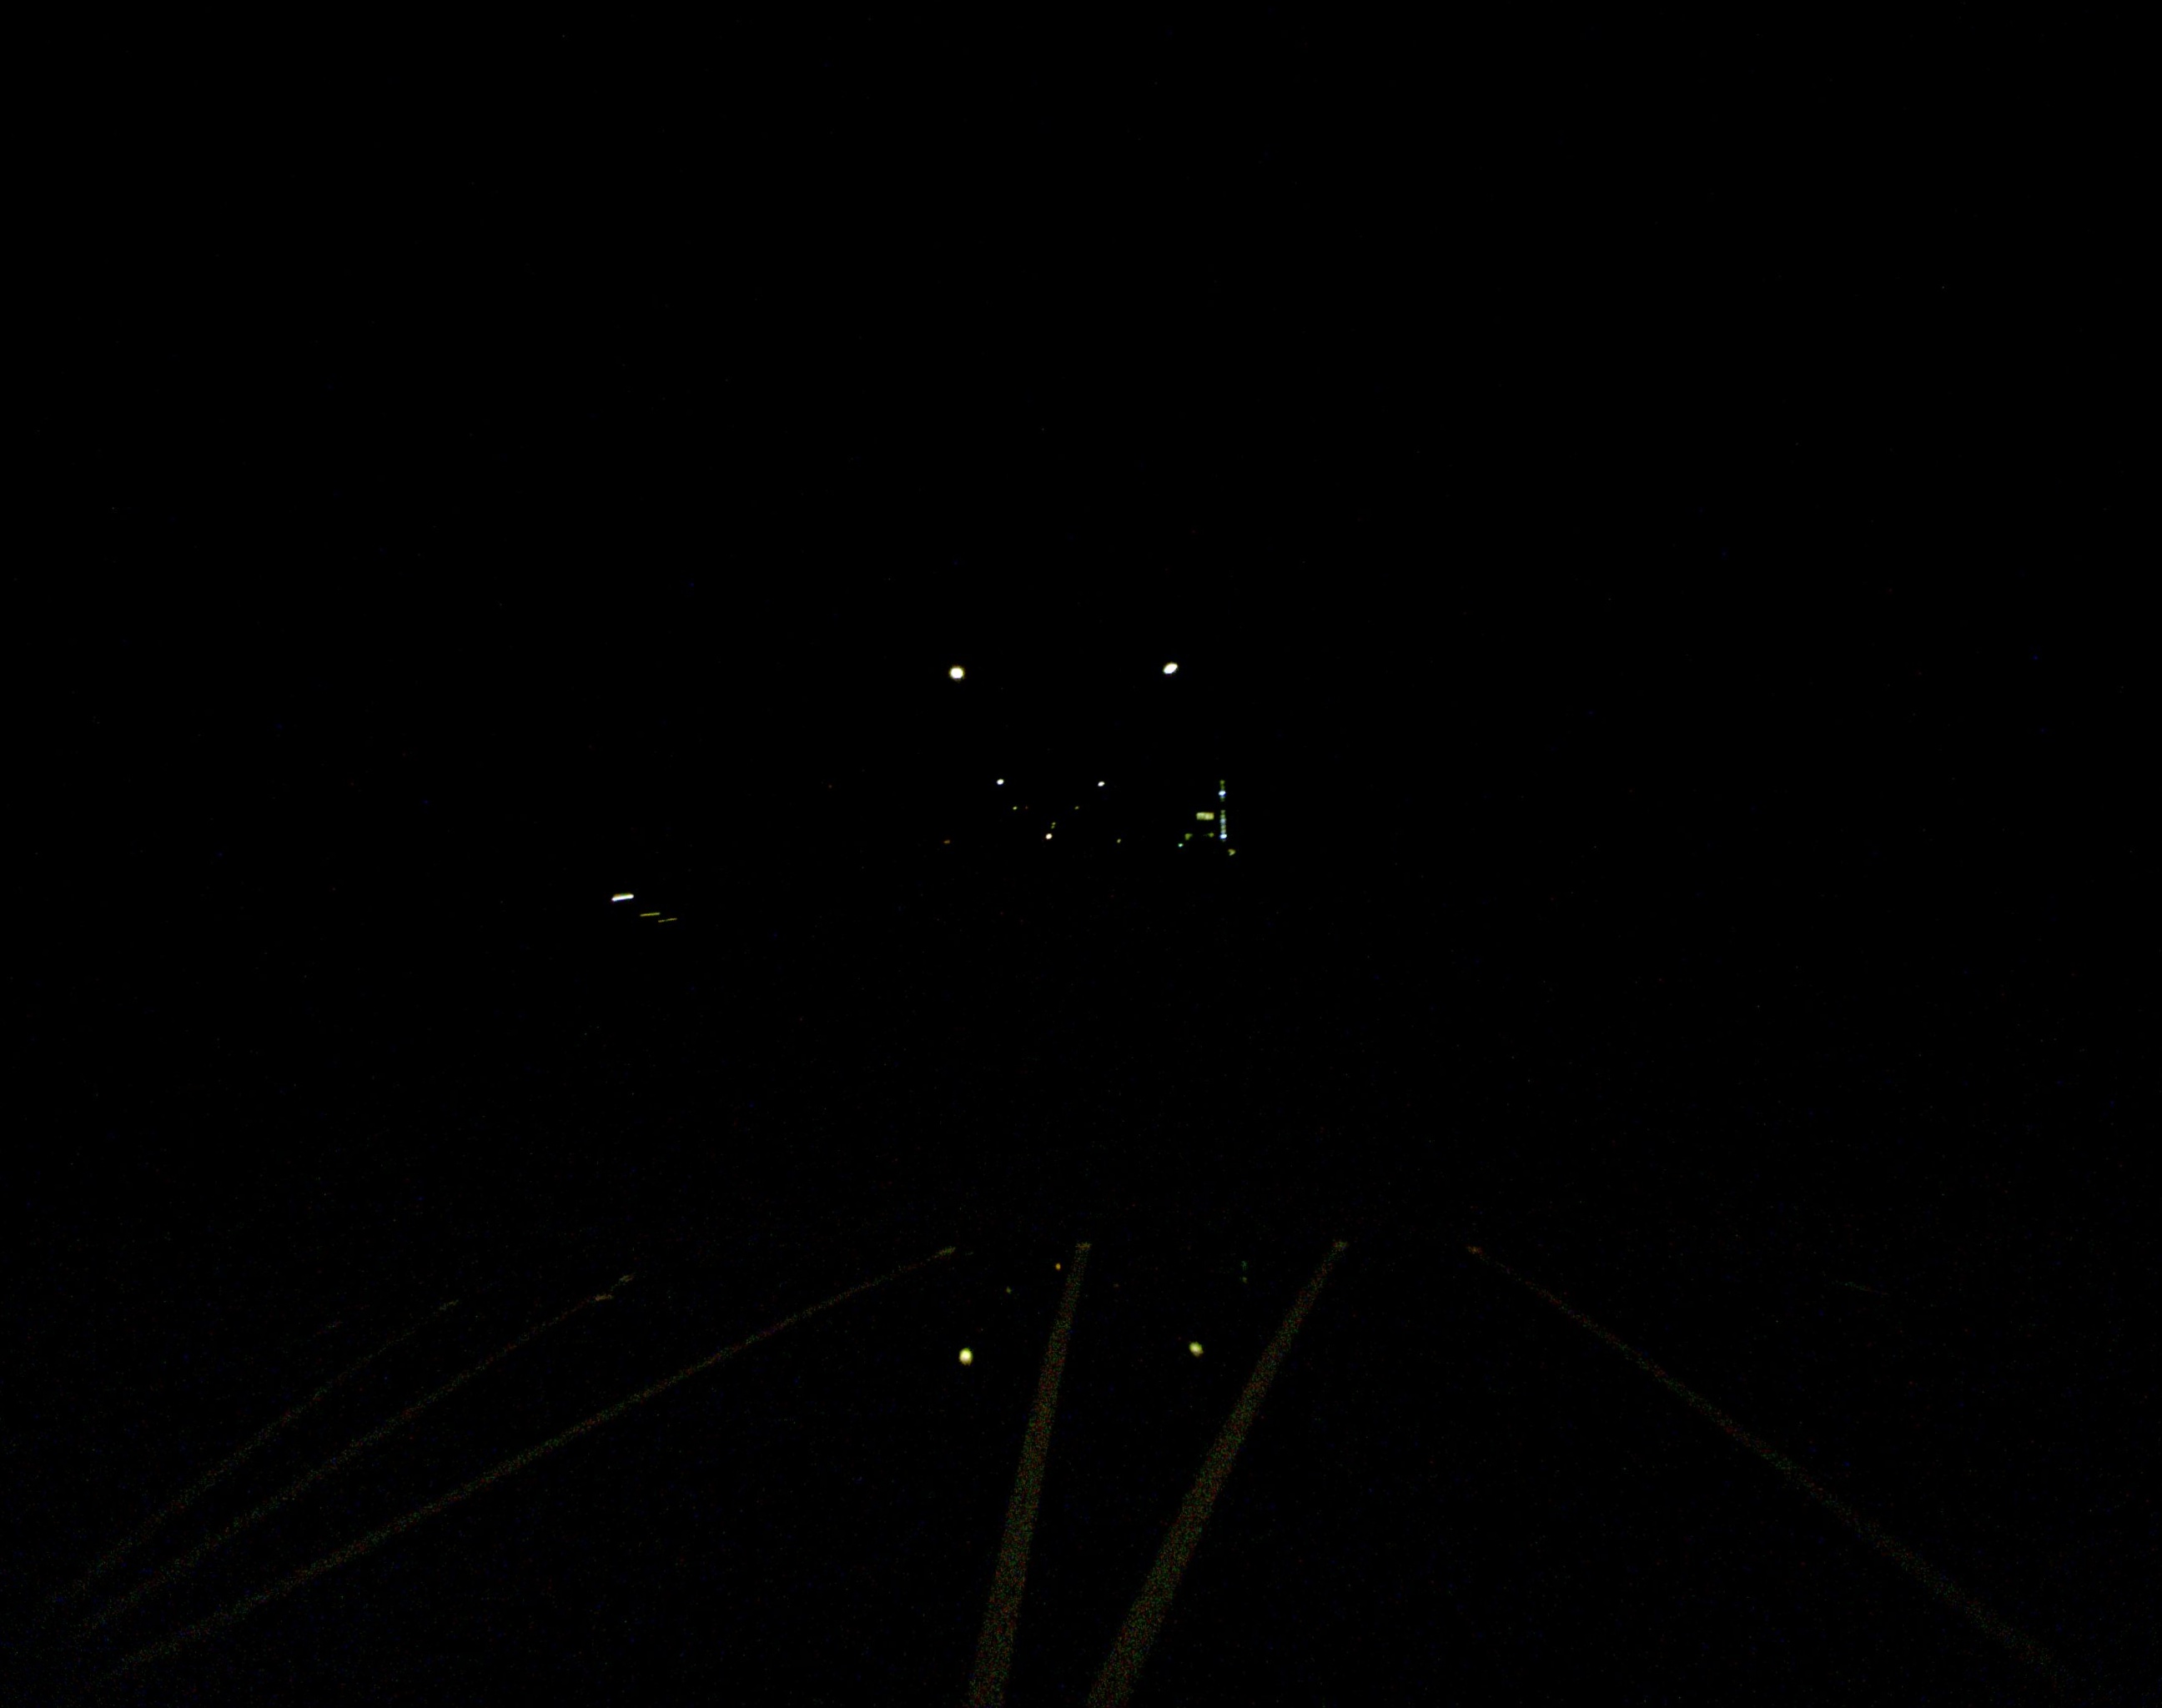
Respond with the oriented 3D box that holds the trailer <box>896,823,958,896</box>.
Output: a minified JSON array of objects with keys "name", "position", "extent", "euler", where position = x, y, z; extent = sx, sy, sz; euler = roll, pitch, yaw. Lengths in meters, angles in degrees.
[{"name":"trailer","position":[-7.681,0.253,38.274],"extent":[2.405,3.306,4.359],"euler":[-4,1,-6]}]

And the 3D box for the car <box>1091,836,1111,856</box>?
[{"name":"car","position":[2.385,-0.949,91.957],"extent":[2.145,2.299,4.467],"euler":[-4,1,-2]}]

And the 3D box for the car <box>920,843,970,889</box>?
[{"name":"car","position":[-8.228,0.662,46.611],"extent":[1.946,2.533,6.643],"euler":[-4,1,-3]}]

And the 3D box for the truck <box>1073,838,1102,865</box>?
[{"name":"truck","position":[0.855,-0.390,110.770],"extent":[2.830,3.611,10.394],"euler":[-4,1,-6]}]

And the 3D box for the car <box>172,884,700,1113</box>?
[{"name":"car","position":[-6.000,1.174,8.052],"extent":[1.731,1.378,4.674],"euler":[-4,1,-4]}]

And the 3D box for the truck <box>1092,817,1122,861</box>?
[{"name":"truck","position":[2.683,-1.666,82.722],"extent":[2.645,4.290,12.819],"euler":[-1,1,0]}]

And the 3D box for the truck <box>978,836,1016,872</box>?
[{"name":"truck","position":[-9.838,-0.095,90.426],"extent":[2.515,3.815,12.657],"euler":[-4,1,2]}]

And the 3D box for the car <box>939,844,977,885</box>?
[{"name":"car","position":[-8.559,0.675,53.351],"extent":[1.999,2.533,6.022],"euler":[-4,1,-5]}]

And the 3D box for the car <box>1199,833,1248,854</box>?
[{"name":"car","position":[13.113,-0.973,70.153],"extent":[3.998,1.455,1.805],"euler":[-6,1,-6]}]

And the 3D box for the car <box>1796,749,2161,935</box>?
[{"name":"car","position":[12.244,-0.217,9.689],"extent":[4.444,1.961,1.999],"euler":[-4,1,-3]}]

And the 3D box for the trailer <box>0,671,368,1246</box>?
[{"name":"trailer","position":[-5.972,0.526,3.180],"extent":[1.998,2.636,3.999],"euler":[-4,1,0]}]
